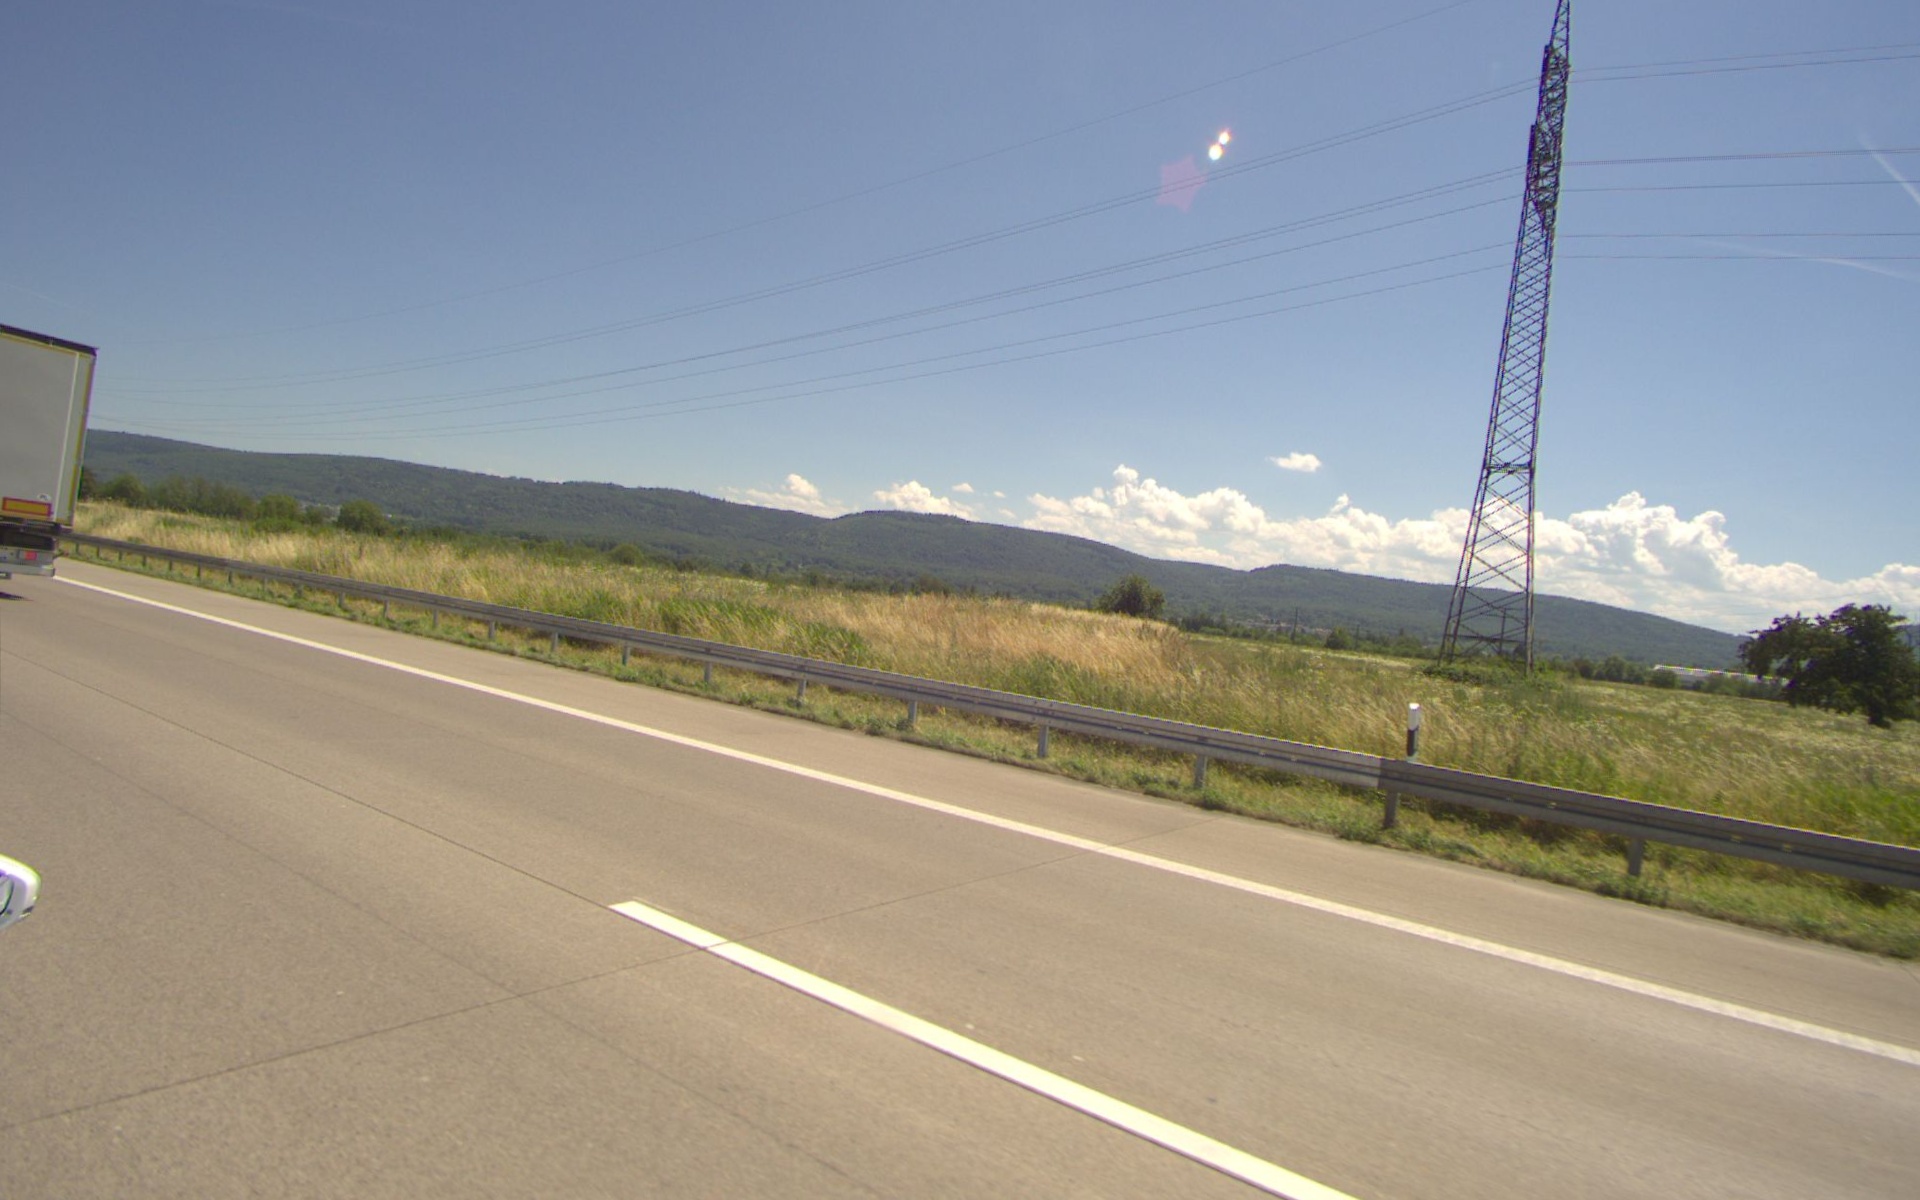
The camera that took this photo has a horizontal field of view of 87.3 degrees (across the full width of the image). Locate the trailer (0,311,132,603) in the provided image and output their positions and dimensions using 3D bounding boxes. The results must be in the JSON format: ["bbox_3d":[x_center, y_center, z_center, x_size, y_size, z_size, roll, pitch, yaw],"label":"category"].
[{"bbox_3d":[-19.992,-2.810,18.329,13.973,4.108,3.023,7,-1,32],"label":"trailer"}]
